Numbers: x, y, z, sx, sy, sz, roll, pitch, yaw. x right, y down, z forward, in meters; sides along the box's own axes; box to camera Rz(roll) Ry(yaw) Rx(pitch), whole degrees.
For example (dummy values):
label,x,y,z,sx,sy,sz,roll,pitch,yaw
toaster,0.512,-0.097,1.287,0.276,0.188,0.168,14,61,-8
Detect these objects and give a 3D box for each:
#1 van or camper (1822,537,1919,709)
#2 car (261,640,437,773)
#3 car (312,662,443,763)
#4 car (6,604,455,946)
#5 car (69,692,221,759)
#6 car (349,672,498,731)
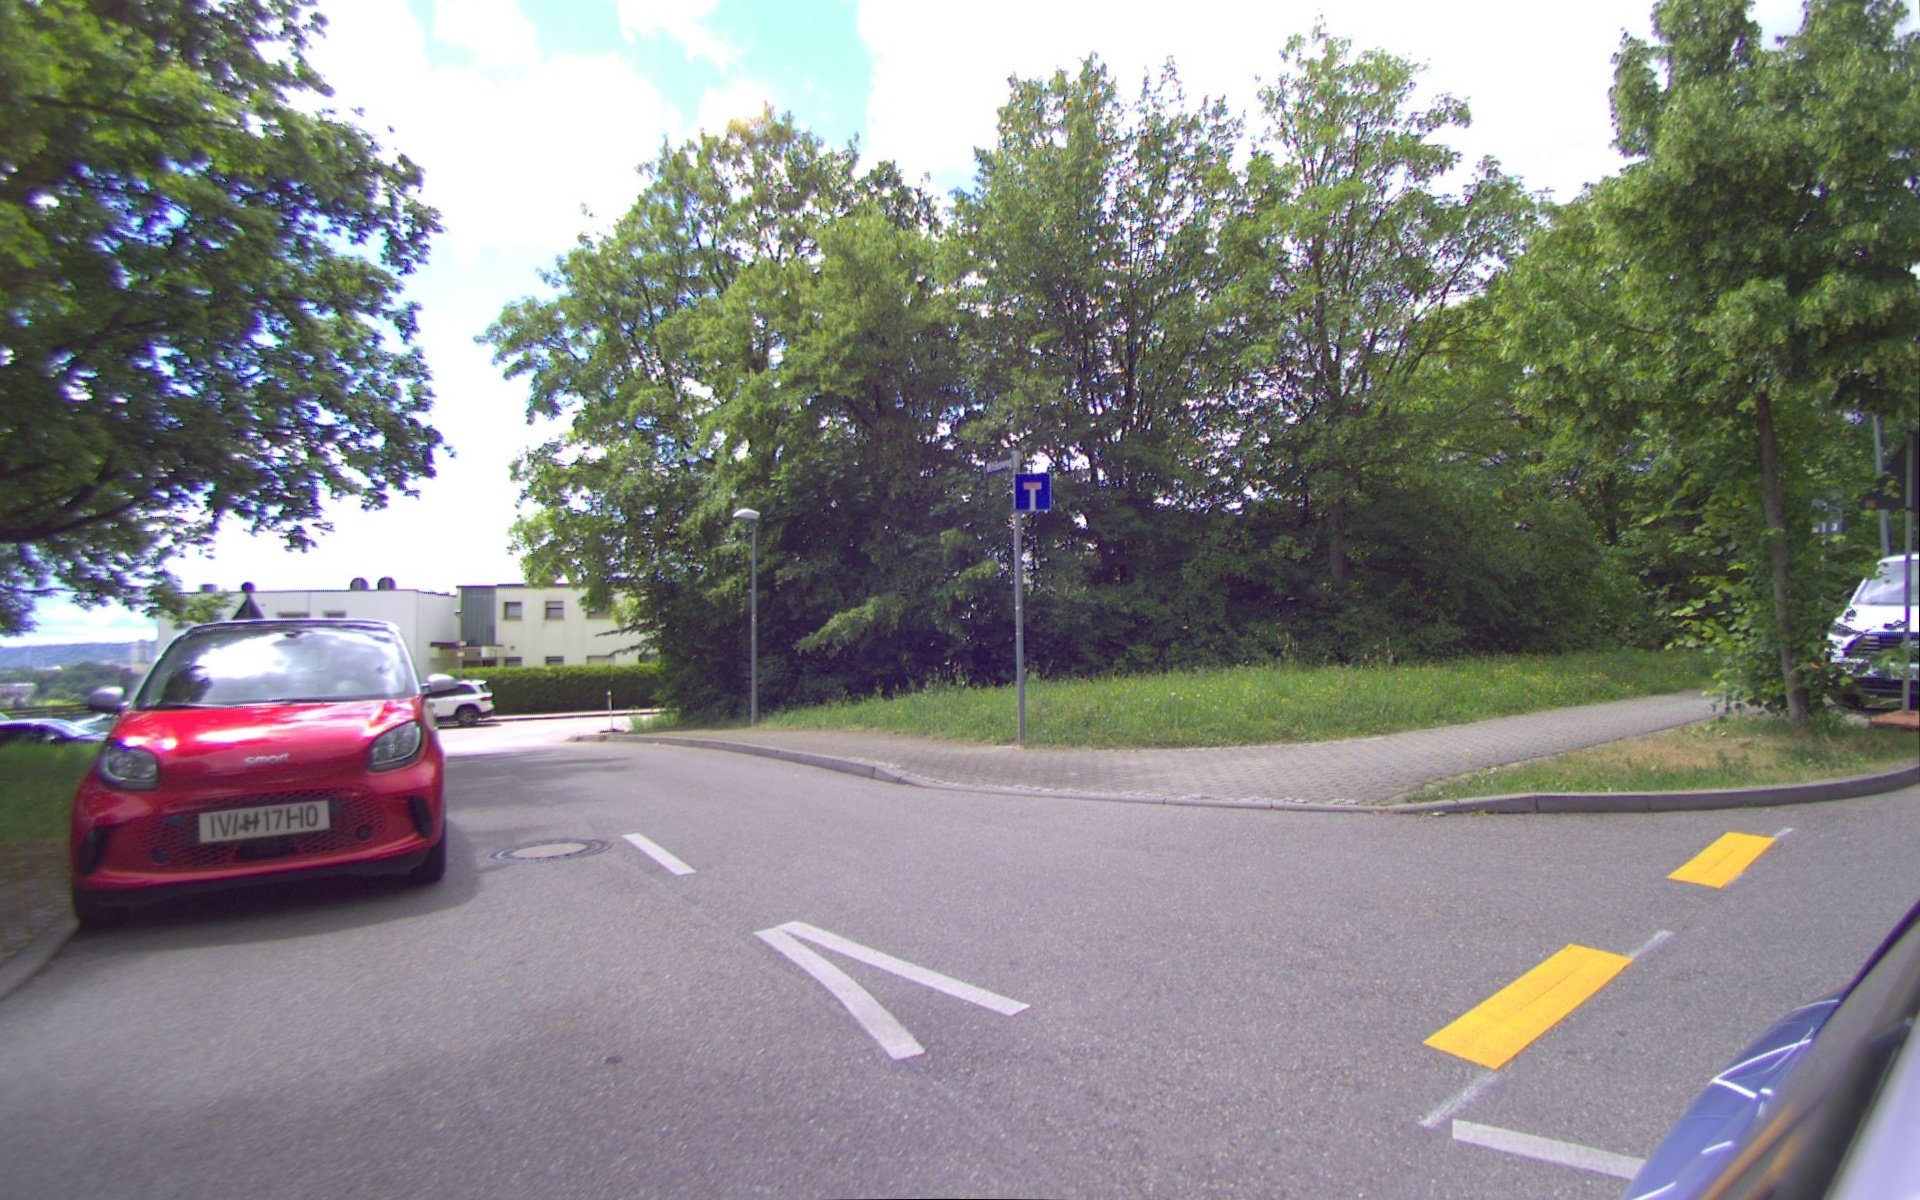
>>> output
label,x,y,z,sx,sy,sz,roll,pitch,yaw
van or camper,13.074,0.216,12.661,5.163,1.944,2.001,-1,-1,-32
car,-8.983,1.582,14.960,1.960,1.617,3.999,0,-6,-31
car,-11.063,2.147,19.212,1.960,1.617,3.999,0,-6,-31
car,-4.251,0.836,6.440,1.745,1.500,3.550,0,-2,-28
car,-26.054,3.978,32.495,3.535,1.618,1.738,-4,-2,-32
car,-19.164,3.609,36.284,4.600,1.759,2.001,-1,-5,-29
